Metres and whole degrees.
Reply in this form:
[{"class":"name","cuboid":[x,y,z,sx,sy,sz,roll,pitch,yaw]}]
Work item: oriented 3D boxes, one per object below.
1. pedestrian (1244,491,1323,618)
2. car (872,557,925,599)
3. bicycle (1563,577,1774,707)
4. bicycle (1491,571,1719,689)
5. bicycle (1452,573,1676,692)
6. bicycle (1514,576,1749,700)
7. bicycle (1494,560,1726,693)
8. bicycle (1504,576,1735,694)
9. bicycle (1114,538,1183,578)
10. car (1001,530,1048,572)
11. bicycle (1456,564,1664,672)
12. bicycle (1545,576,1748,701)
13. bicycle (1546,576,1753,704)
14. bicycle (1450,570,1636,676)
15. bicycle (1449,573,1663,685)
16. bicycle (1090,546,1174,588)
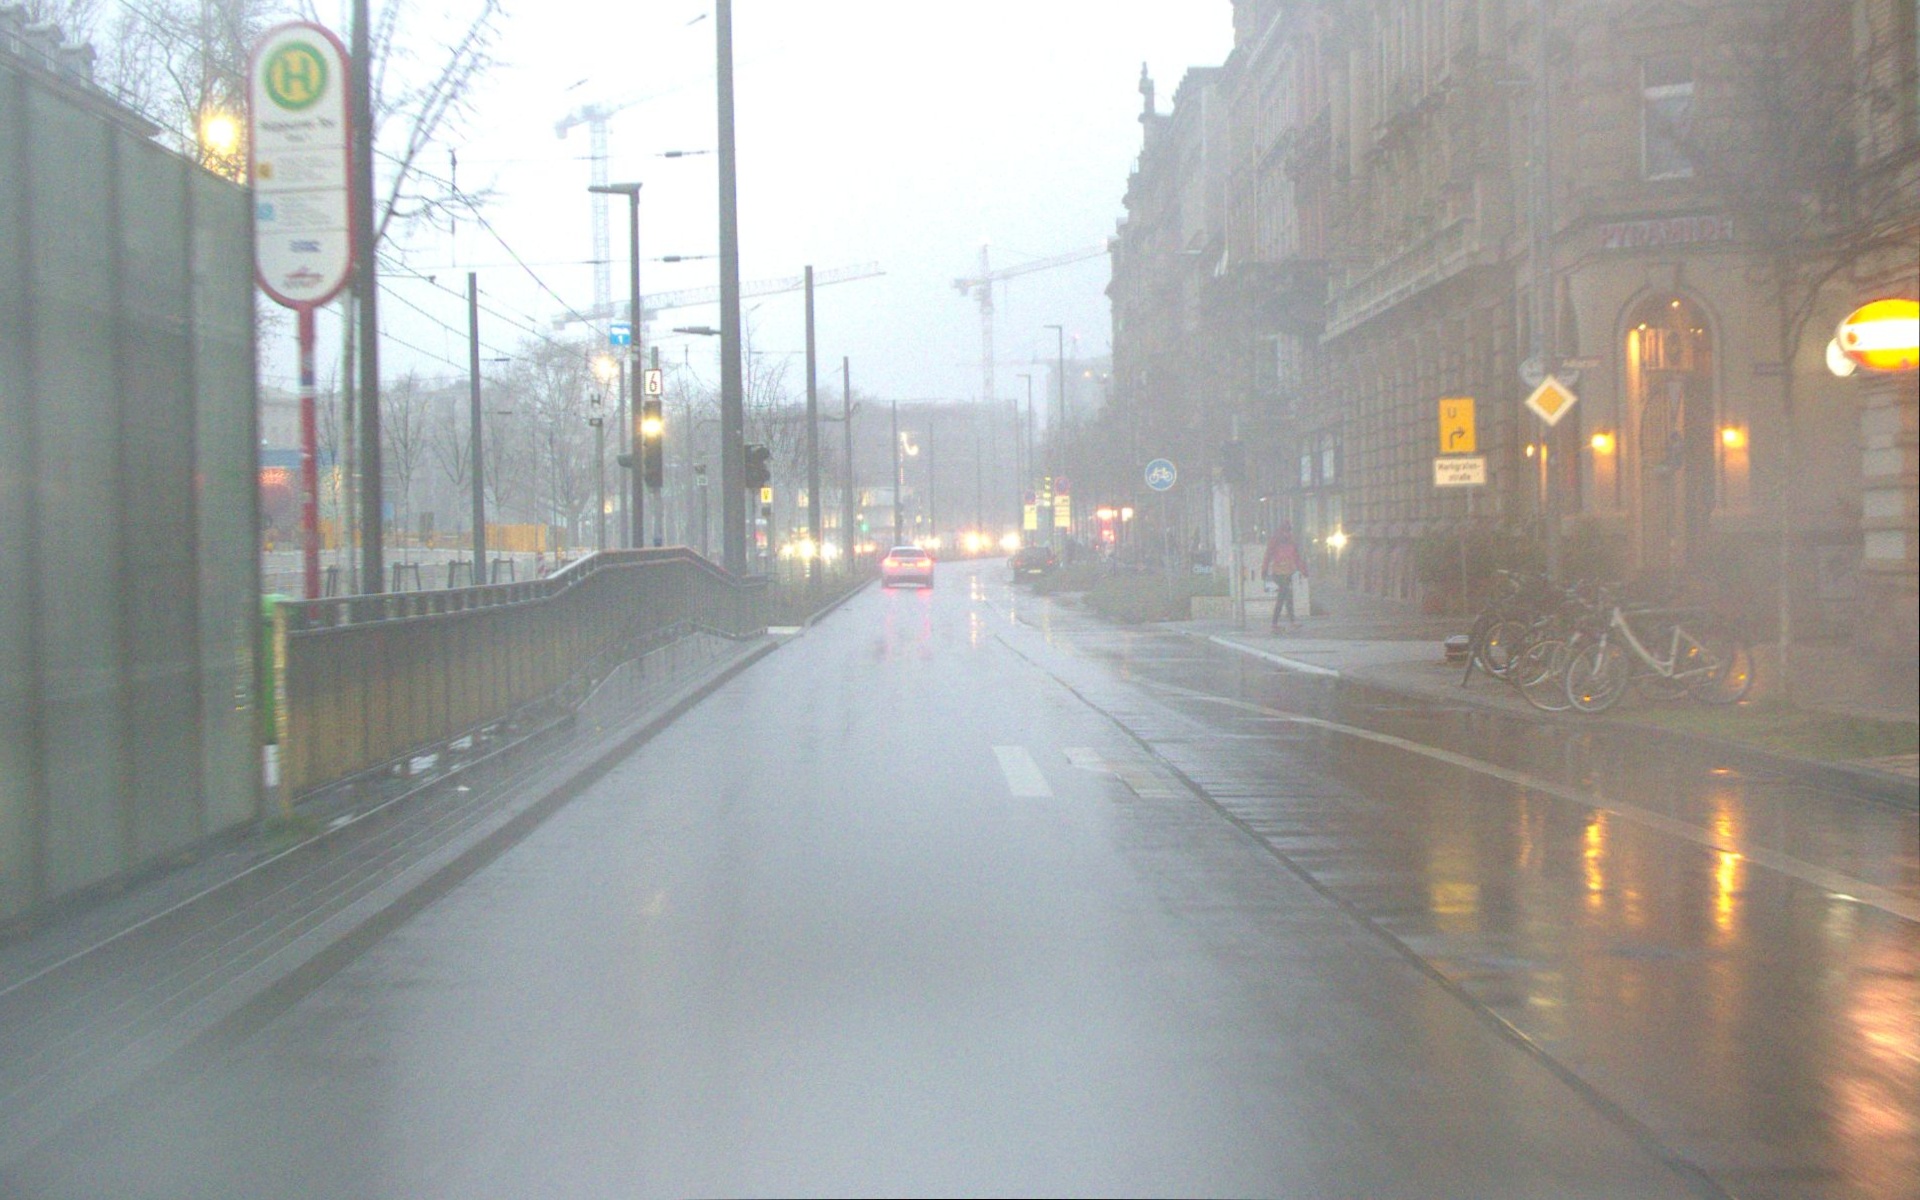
[{"class":"pedestrian","cuboid":[5.185,-0.737,55.163,0.853,2.007,0.918,-1,1,-30]},{"class":"car","cuboid":[-2.206,-0.804,124.249,1.784,1.462,3.148,-1,1,1]},{"class":"bicycle","cuboid":[6.195,0.360,30.080,1.729,1.051,0.371,-2,1,-2]},{"class":"bicycle","cuboid":[6.084,0.280,32.456,2.008,0.967,0.425,-4,1,-1]},{"class":"bicycle","cuboid":[6.141,0.325,34.992,2.144,1.051,0.425,-4,2,-1]},{"class":"bicycle","cuboid":[6.502,0.366,33.334,2.144,1.051,0.425,-4,2,-1]},{"class":"bicycle","cuboid":[6.034,0.246,31.957,2.008,1.091,0.425,-4,1,-1]},{"class":"bicycle","cuboid":[6.491,0.342,33.877,2.144,1.051,0.484,-2,1,-2]},{"class":"bicycle","cuboid":[5.232,-1.175,95.451,1.851,1.054,0.471,-2,1,-3]},{"class":"car","cuboid":[2.624,-1.979,138.142,1.799,1.598,3.770,-2,1,2]},{"class":"bicycle","cuboid":[6.374,0.185,36.538,2.087,1.048,0.478,-3,1,-2]},{"class":"bicycle","cuboid":[6.240,0.347,31.265,1.729,1.051,0.371,-2,1,-2]},{"class":"bicycle","cuboid":[6.128,0.354,30.581,1.729,1.051,0.371,-2,1,-2]},{"class":"bicycle","cuboid":[6.380,0.247,37.598,2.087,1.048,0.478,-3,1,-26]},{"class":"bicycle","cuboid":[6.151,0.292,35.515,2.087,1.048,0.478,-3,1,-2]},{"class":"bicycle","cuboid":[4.587,-0.876,91.515,2.146,1.053,0.526,-2,1,-6]}]
